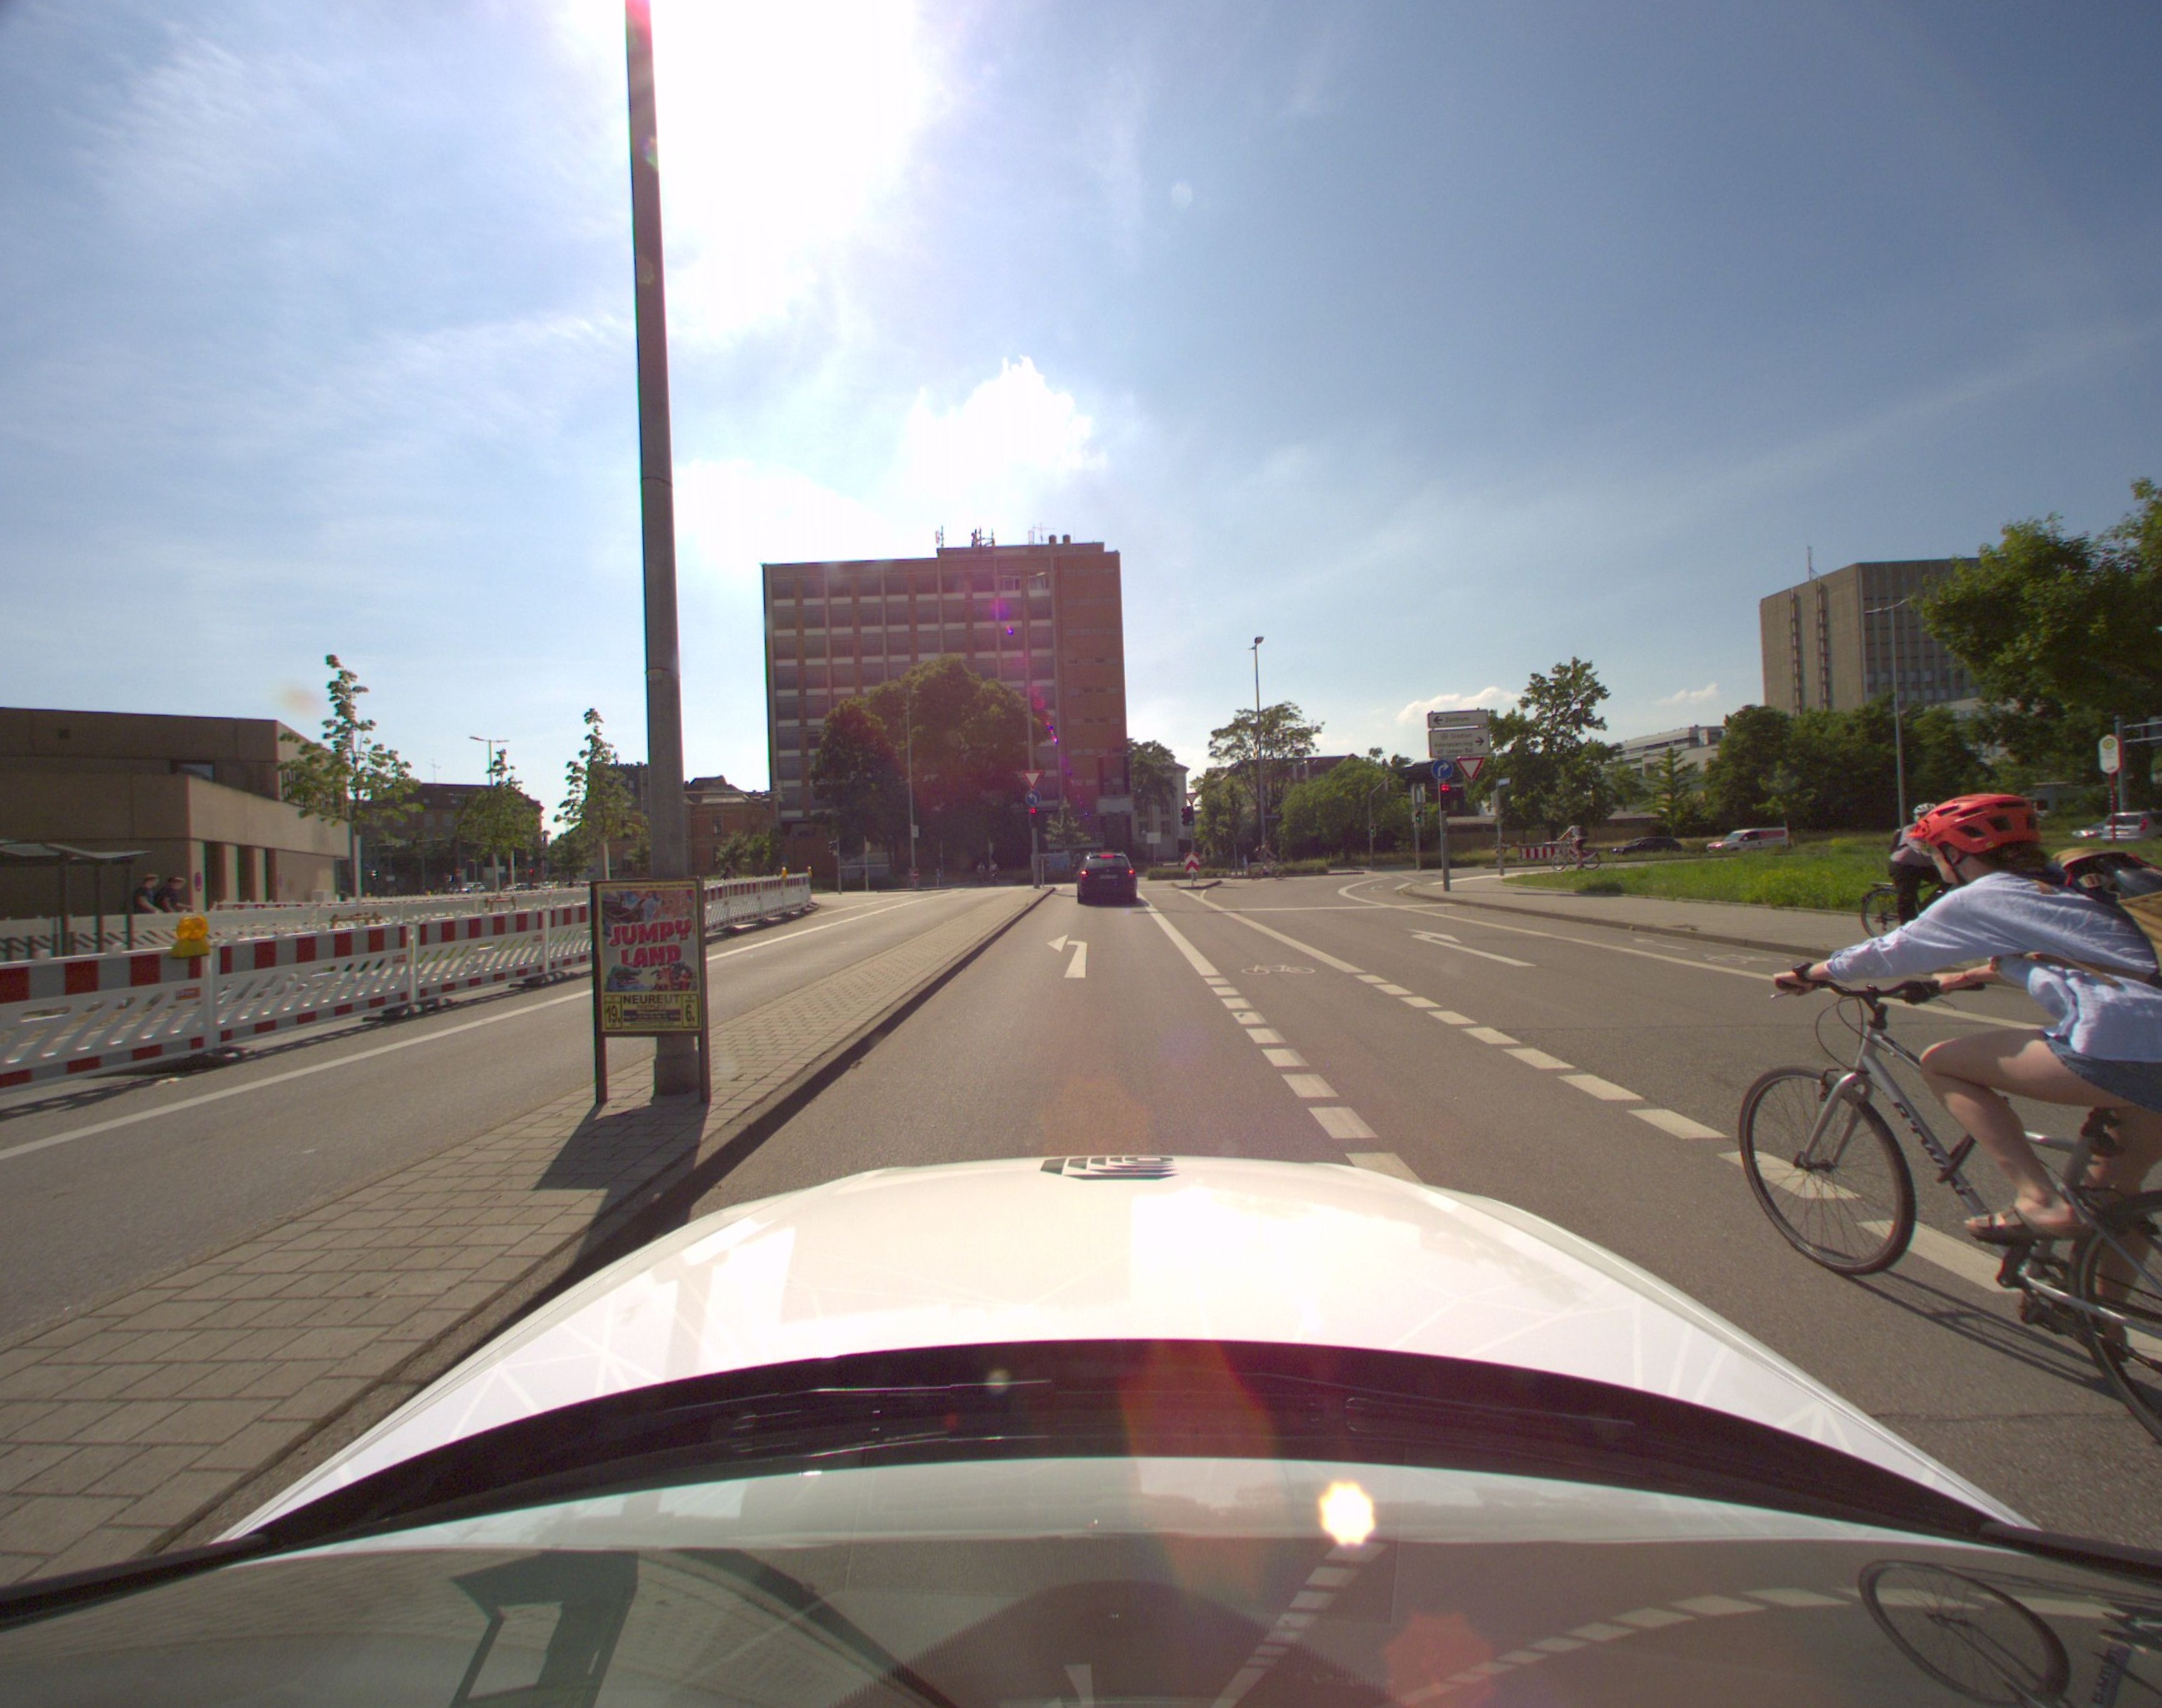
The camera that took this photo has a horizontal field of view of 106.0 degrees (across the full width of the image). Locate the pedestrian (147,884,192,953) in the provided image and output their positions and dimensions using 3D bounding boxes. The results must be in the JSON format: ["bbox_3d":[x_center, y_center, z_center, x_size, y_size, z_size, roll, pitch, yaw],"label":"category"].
[{"bbox_3d":[-23.263,1.641,20.786,0.534,1.708,0.572,-3,-1,22],"label":"pedestrian"}]

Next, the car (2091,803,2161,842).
[{"bbox_3d":[45.472,-1.369,34.151,3.973,1.508,1.753,-3,0,1],"label":"car"}]

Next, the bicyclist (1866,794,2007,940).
[{"bbox_3d":[10.308,0.151,9.852,0.675,1.655,0.919,-3,0,1],"label":"bicyclist"}]

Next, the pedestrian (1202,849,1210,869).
[{"bbox_3d":[11.983,0.486,78.355,0.591,1.874,0.642,-1,-1,24],"label":"pedestrian"}]

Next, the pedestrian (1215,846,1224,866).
[{"bbox_3d":[13.105,0.212,76.987,0.634,1.874,0.796,-4,0,1],"label":"pedestrian"}]

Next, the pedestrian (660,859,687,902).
[{"bbox_3d":[-17.491,1.153,34.980,0.737,1.752,1.105,-3,-2,-15],"label":"pedestrian"}]

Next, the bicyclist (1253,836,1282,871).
[{"bbox_3d":[8.166,-0.009,35.722,1.157,1.474,0.566,-3,0,13],"label":"bicyclist"}]

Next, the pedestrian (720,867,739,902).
[{"bbox_3d":[-15.751,1.366,36.544,0.632,1.491,0.613,-3,0,-15],"label":"pedestrian"}]

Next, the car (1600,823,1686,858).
[{"bbox_3d":[35.696,-0.840,51.829,3.970,2.013,2.002,-3,0,3],"label":"car"}]

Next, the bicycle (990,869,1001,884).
[{"bbox_3d":[-5.838,1.535,55.690,0.617,0.961,1.965,-5,0,-3],"label":"bicycle"}]

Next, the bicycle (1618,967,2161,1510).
[{"bbox_3d":[2.588,0.929,2.480,0.594,0.931,2.029,-1,-2,2],"label":"bicycle"}]

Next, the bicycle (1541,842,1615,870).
[{"bbox_3d":[17.904,0.088,29.395,0.678,0.916,2.143,-3,0,-41],"label":"bicycle"}]

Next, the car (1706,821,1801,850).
[{"bbox_3d":[42.053,-1.118,50.982,4.295,1.569,1.910,-3,0,0],"label":"car"}]

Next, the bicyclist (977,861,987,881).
[{"bbox_3d":[-7.310,1.269,60.230,0.537,1.417,1.030,-4,-1,0],"label":"bicyclist"}]

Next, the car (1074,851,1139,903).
[{"bbox_3d":[0.774,0.641,24.589,1.773,1.443,3.819,-1,0,2],"label":"car"}]

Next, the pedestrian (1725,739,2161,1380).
[{"bbox_3d":[2.582,0.468,2.377,0.581,1.466,1.014,-1,-1,2],"label":"pedestrian"}]

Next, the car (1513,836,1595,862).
[{"bbox_3d":[29.999,-0.311,51.762,3.973,1.464,2.000,-3,-1,1],"label":"car"}]

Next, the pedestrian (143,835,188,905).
[{"bbox_3d":[-23.856,0.420,21.227,0.538,1.778,0.572,-3,-1,22],"label":"pedestrian"}]

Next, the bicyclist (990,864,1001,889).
[{"bbox_3d":[-5.838,1.535,55.690,0.617,1.581,1.012,-5,0,-4],"label":"bicyclist"}]

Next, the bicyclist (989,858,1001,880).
[{"bbox_3d":[-5.883,1.004,55.691,0.617,1.443,0.919,-5,0,-4],"label":"bicyclist"}]

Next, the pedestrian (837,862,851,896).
[{"bbox_3d":[-14.002,1.460,48.165,0.619,2.014,0.679,1,-2,-36],"label":"pedestrian"}]

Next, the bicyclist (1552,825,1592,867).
[{"bbox_3d":[17.779,-0.269,29.504,0.499,1.470,1.129,1,-2,-42],"label":"bicyclist"}]

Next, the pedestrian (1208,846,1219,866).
[{"bbox_3d":[12.683,0.187,78.083,0.786,1.874,0.642,-4,0,24],"label":"pedestrian"}]

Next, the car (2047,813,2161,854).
[{"bbox_3d":[57.438,-1.137,45.573,3.966,2.014,2.003,-3,-2,6],"label":"car"}]

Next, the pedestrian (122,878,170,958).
[{"bbox_3d":[-22.867,1.554,19.913,0.436,1.915,0.609,-3,-1,22],"label":"pedestrian"}]

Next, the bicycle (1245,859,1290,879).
[{"bbox_3d":[8.189,0.667,35.725,1.876,0.792,0.562,-2,1,13],"label":"bicycle"}]

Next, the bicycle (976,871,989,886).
[{"bbox_3d":[-7.281,1.812,60.251,0.702,0.977,2.030,-3,0,-1],"label":"bicycle"}]

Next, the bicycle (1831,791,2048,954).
[{"bbox_3d":[10.301,0.204,9.885,0.675,1.765,1.811,-3,0,1],"label":"bicycle"}]
